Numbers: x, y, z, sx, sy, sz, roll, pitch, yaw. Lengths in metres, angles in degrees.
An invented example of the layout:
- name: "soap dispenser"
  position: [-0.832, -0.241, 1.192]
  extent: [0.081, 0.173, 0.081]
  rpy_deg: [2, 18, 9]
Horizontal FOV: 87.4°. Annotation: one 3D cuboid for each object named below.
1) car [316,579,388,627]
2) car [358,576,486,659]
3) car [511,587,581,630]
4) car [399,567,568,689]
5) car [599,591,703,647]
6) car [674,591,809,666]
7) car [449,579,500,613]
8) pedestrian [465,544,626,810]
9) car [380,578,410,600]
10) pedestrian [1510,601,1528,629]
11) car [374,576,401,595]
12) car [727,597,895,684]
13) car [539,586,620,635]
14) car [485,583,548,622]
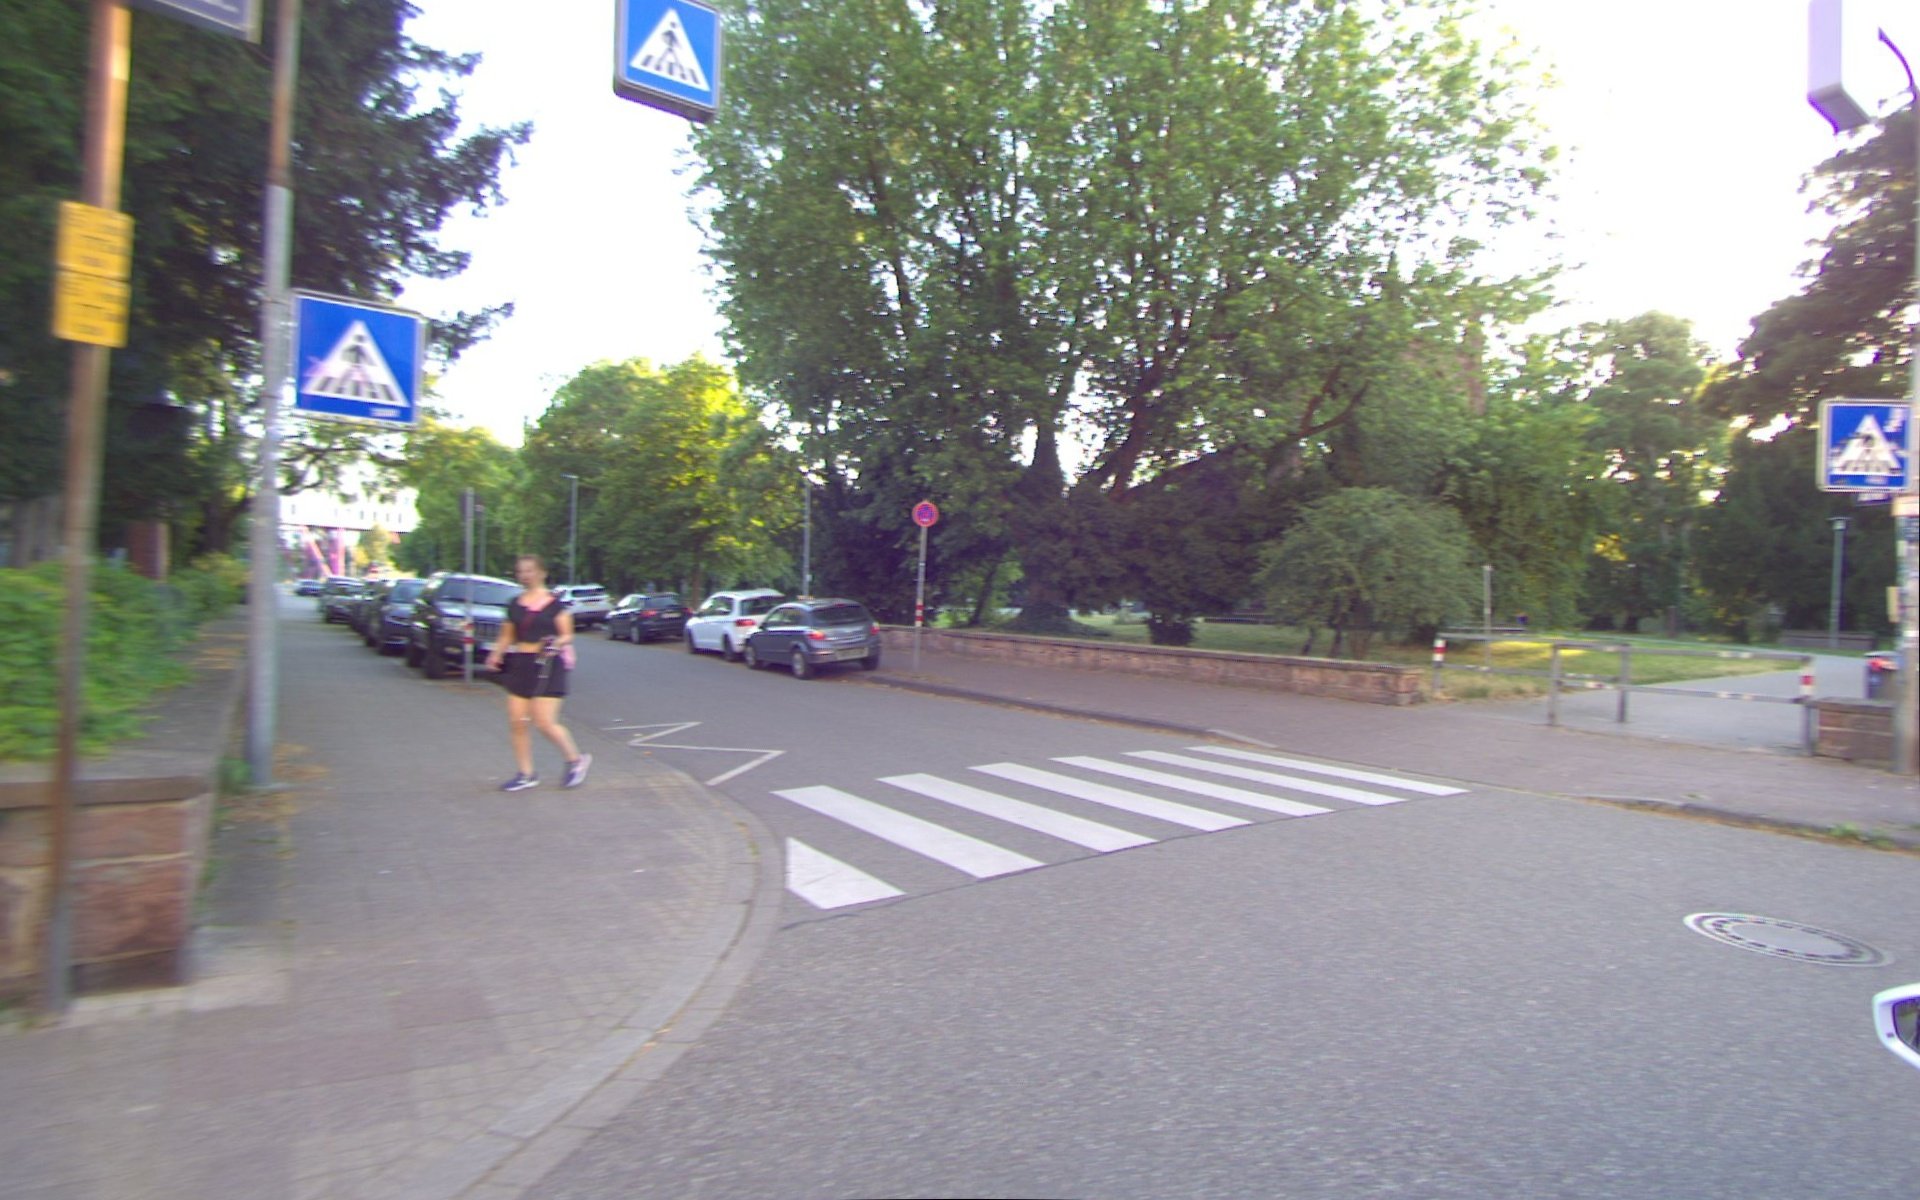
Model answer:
- name: "car"
  position: [-21.968, 0.099, 36.227]
  extent: [1.772, 1.519, 3.844]
  rpy_deg: [7, -4, -36]
- name: "car"
  position: [-11.655, 0.361, 21.643]
  extent: [1.772, 1.519, 3.844]
  rpy_deg: [7, -4, -36]
- name: "car"
  position: [-17.307, 0.327, 41.916]
  extent: [1.770, 1.593, 3.844]
  rpy_deg: [-5, 3, -36]
- name: "car"
  position: [-8.099, 0.447, 16.905]
  extent: [1.771, 1.776, 3.844]
  rpy_deg: [5, -2, -36]
- name: "car"
  position: [-9.411, 0.517, 30.411]
  extent: [1.770, 1.496, 3.844]
  rpy_deg: [-5, 3, -36]
- name: "car"
  position: [-5.449, 0.626, 24.722]
  extent: [1.770, 1.599, 3.844]
  rpy_deg: [-5, 3, -36]
- name: "car"
  position: [-28.563, -0.253, 59.070]
  extent: [1.947, 1.861, 3.844]
  rpy_deg: [-5, 3, -36]
- name: "pedestrian"
  position: [-2.952, 0.527, 7.195]
  extent: [0.850, 1.748, 0.820]
  rpy_deg: [6, 0, -23]
- name: "car"
  position: [-49.638, -0.992, 88.235]
  extent: [1.770, 1.807, 3.970]
  rpy_deg: [-5, 3, -36]
- name: "pedestrian"
  position: [35.033, 0.928, 62.953]
  extent: [0.658, 1.691, 0.663]
  rpy_deg: [1, 1, -22]
- name: "car"
  position: [-58.587, -1.470, 102.755]
  extent: [1.770, 1.807, 3.970]
  rpy_deg: [-5, 3, -37]
- name: "car"
  position: [-3.150, 0.746, 20.683]
  extent: [1.770, 1.471, 3.844]
  rpy_deg: [-5, 3, -36]
- name: "car"
  position: [-14.116, 0.351, 37.171]
  extent: [1.770, 1.593, 3.844]
  rpy_deg: [-5, 3, -36]
- name: "car"
  position: [-20.400, 0.096, 46.127]
  extent: [1.770, 1.593, 3.844]
  rpy_deg: [-5, 3, -36]
